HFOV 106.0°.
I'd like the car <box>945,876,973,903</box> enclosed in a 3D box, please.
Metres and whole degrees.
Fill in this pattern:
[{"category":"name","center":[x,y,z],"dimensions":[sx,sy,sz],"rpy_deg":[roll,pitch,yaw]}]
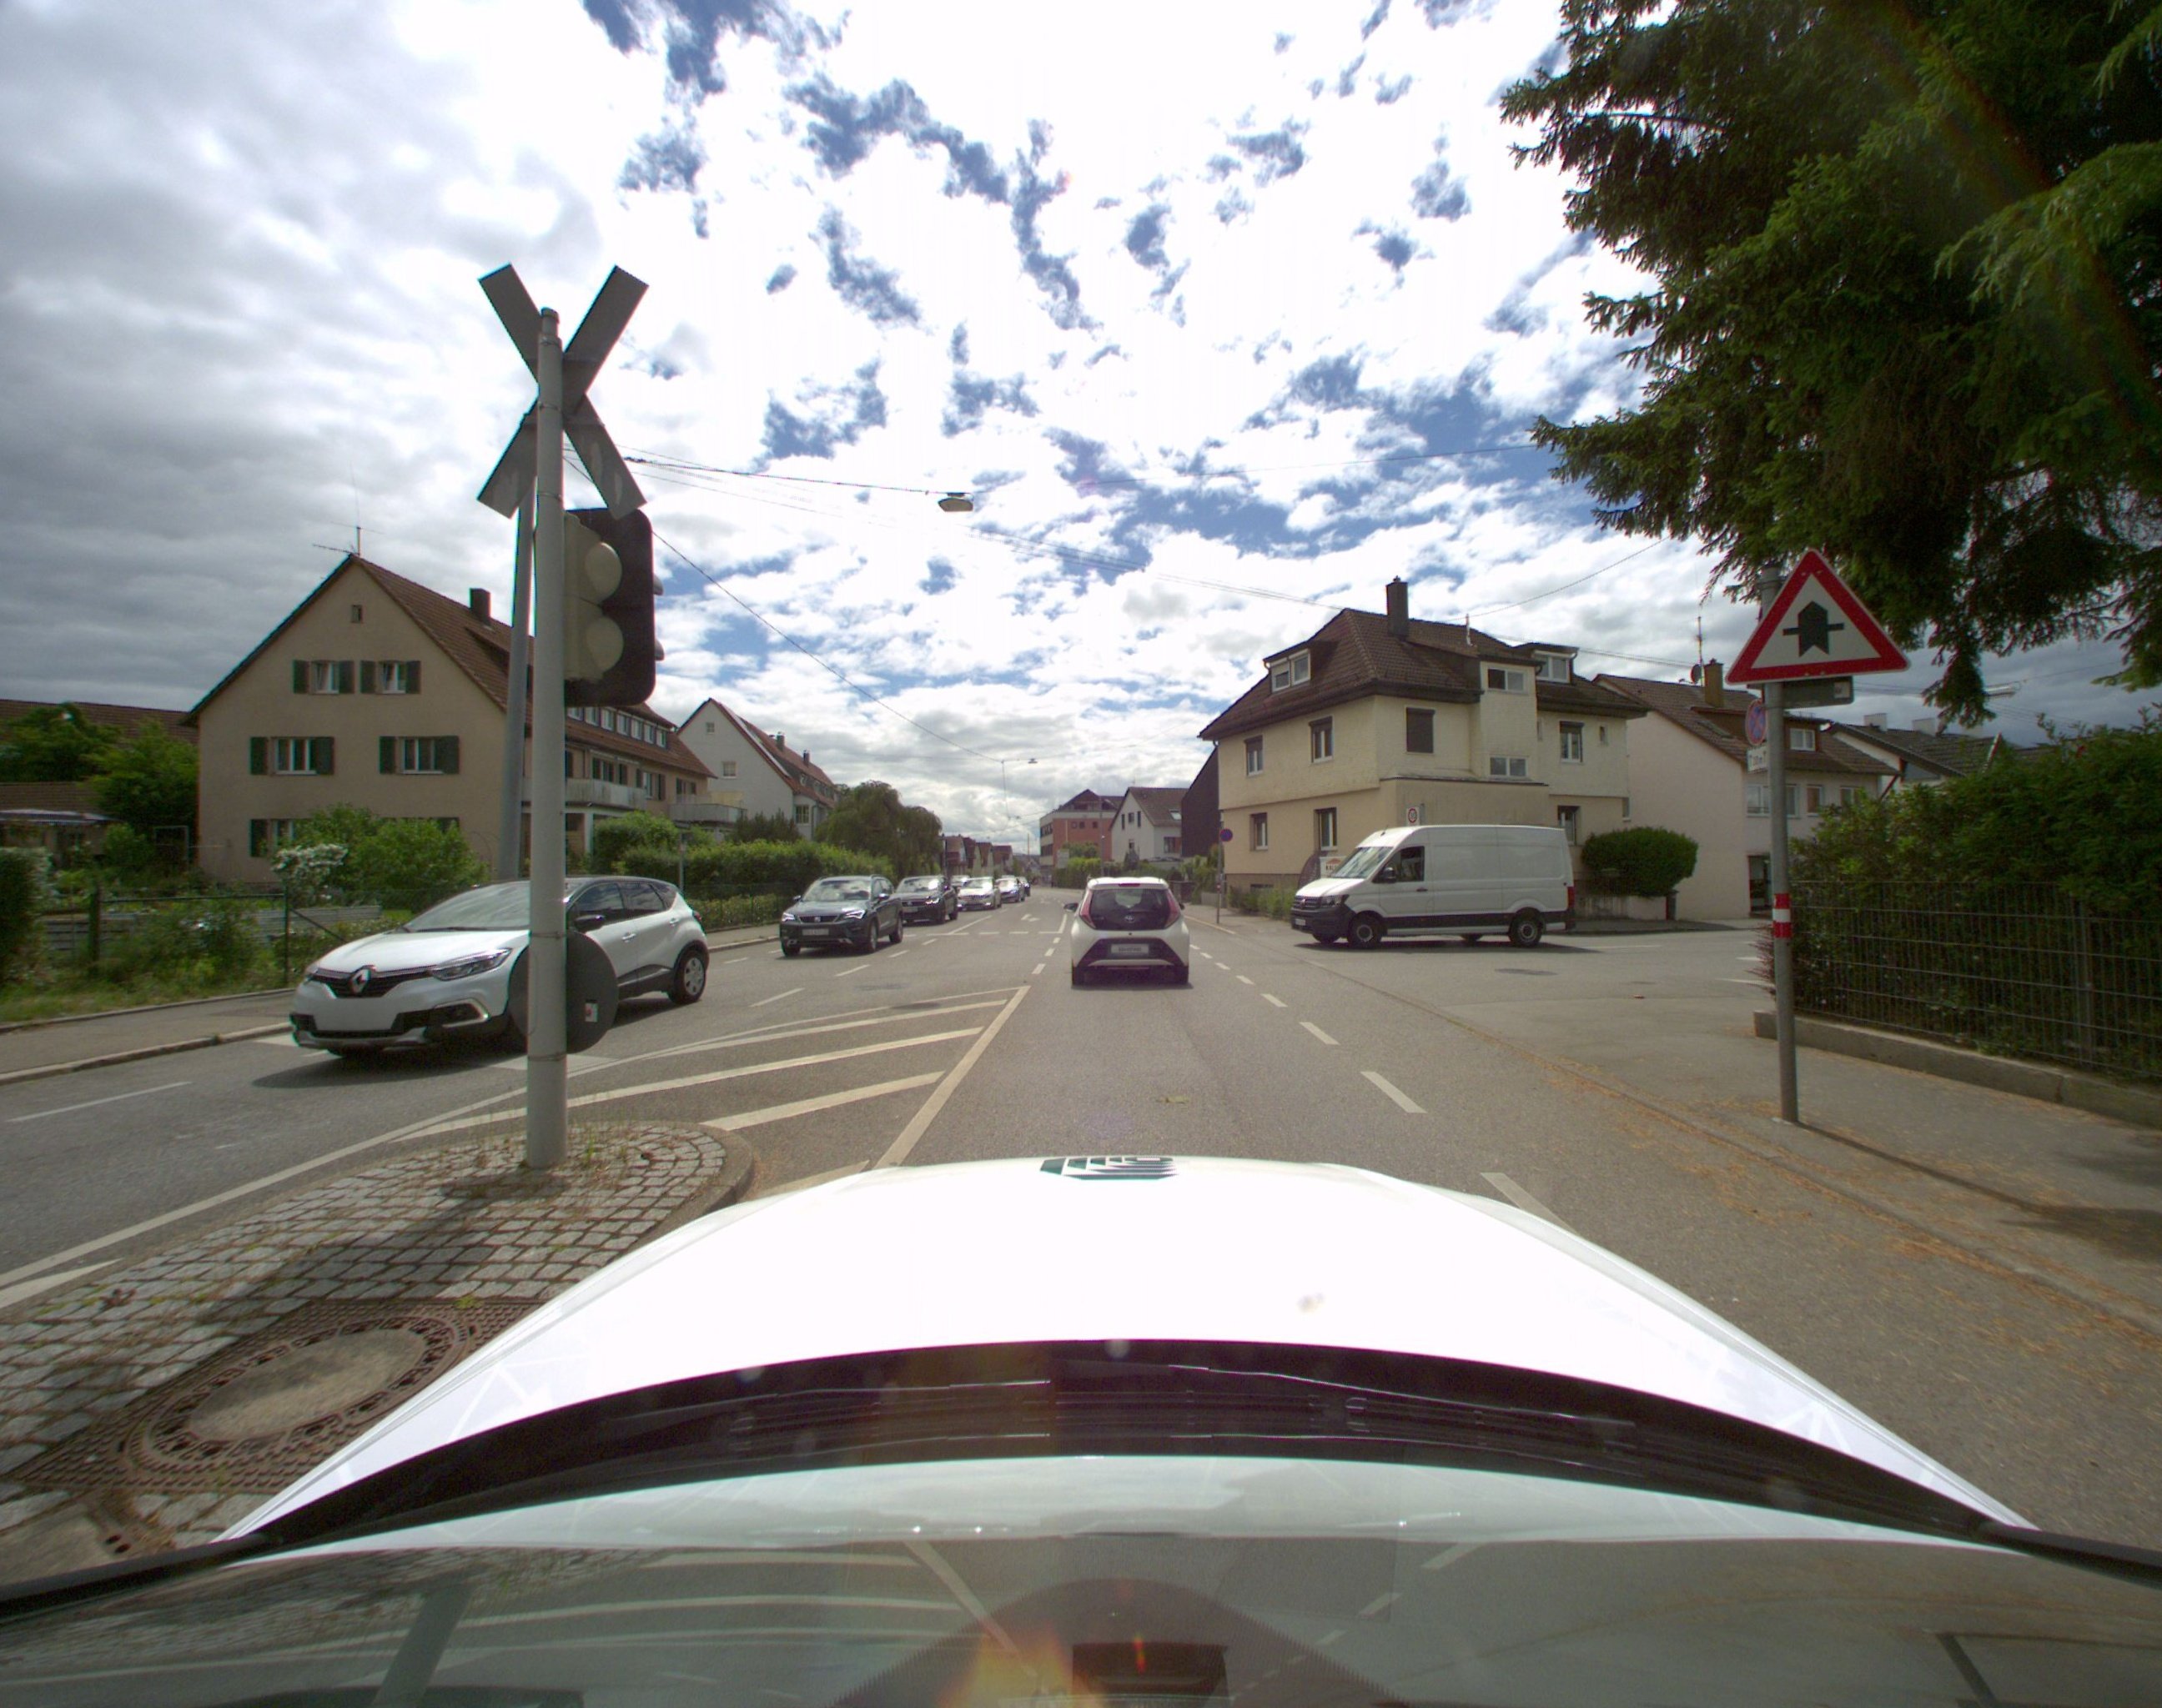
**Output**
[{"category":"car","center":[-8.957,2.612,60.137],"dimensions":[1.773,1.846,3.999],"rpy_deg":[-2,-2,-6]}]

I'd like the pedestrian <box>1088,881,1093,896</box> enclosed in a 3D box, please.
[{"category":"pedestrian","center":[0.907,3.390,80.231],"dimensions":[0.414,1.438,0.435],"rpy_deg":[1,-2,-14]}]

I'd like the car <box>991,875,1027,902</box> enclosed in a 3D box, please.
[{"category":"car","center":[-4.258,2.065,48.713],"dimensions":[1.770,1.430,4.518],"rpy_deg":[-3,-2,-1]}]

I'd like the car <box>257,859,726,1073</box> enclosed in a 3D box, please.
[{"category":"car","center":[-5.508,0.932,8.396],"dimensions":[1.768,1.603,4.040],"rpy_deg":[-2,-2,2]}]

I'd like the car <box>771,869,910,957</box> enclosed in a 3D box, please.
[{"category":"car","center":[-5.054,1.208,17.688],"dimensions":[1.769,1.603,4.037],"rpy_deg":[-2,-2,0]}]

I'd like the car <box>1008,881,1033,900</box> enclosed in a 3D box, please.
[{"category":"car","center":[-4.775,2.898,64.637],"dimensions":[1.770,1.430,4.005],"rpy_deg":[-2,-2,-1]}]

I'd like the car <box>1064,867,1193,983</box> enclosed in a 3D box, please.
[{"category":"car","center":[0.578,1.003,12.654],"dimensions":[1.617,1.486,3.996],"rpy_deg":[-1,-2,-2]}]

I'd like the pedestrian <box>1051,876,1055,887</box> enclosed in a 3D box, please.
[{"category":"pedestrian","center":[-3.580,3.491,102.850],"dimensions":[0.413,1.438,0.436],"rpy_deg":[1,-2,-7]}]

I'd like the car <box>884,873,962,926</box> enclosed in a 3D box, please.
[{"category":"car","center":[-5.312,1.513,27.844],"dimensions":[1.769,1.603,4.168],"rpy_deg":[-3,-2,0]}]

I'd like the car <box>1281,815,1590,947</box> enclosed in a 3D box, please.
[{"category":"car","center":[7.530,0.565,17.500],"dimensions":[5.996,2.582,1.993],"rpy_deg":[0,-2,-11]}]

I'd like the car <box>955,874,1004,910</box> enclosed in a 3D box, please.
[{"category":"car","center":[-4.851,1.829,39.271],"dimensions":[1.769,1.562,4.168],"rpy_deg":[-3,-2,0]}]
